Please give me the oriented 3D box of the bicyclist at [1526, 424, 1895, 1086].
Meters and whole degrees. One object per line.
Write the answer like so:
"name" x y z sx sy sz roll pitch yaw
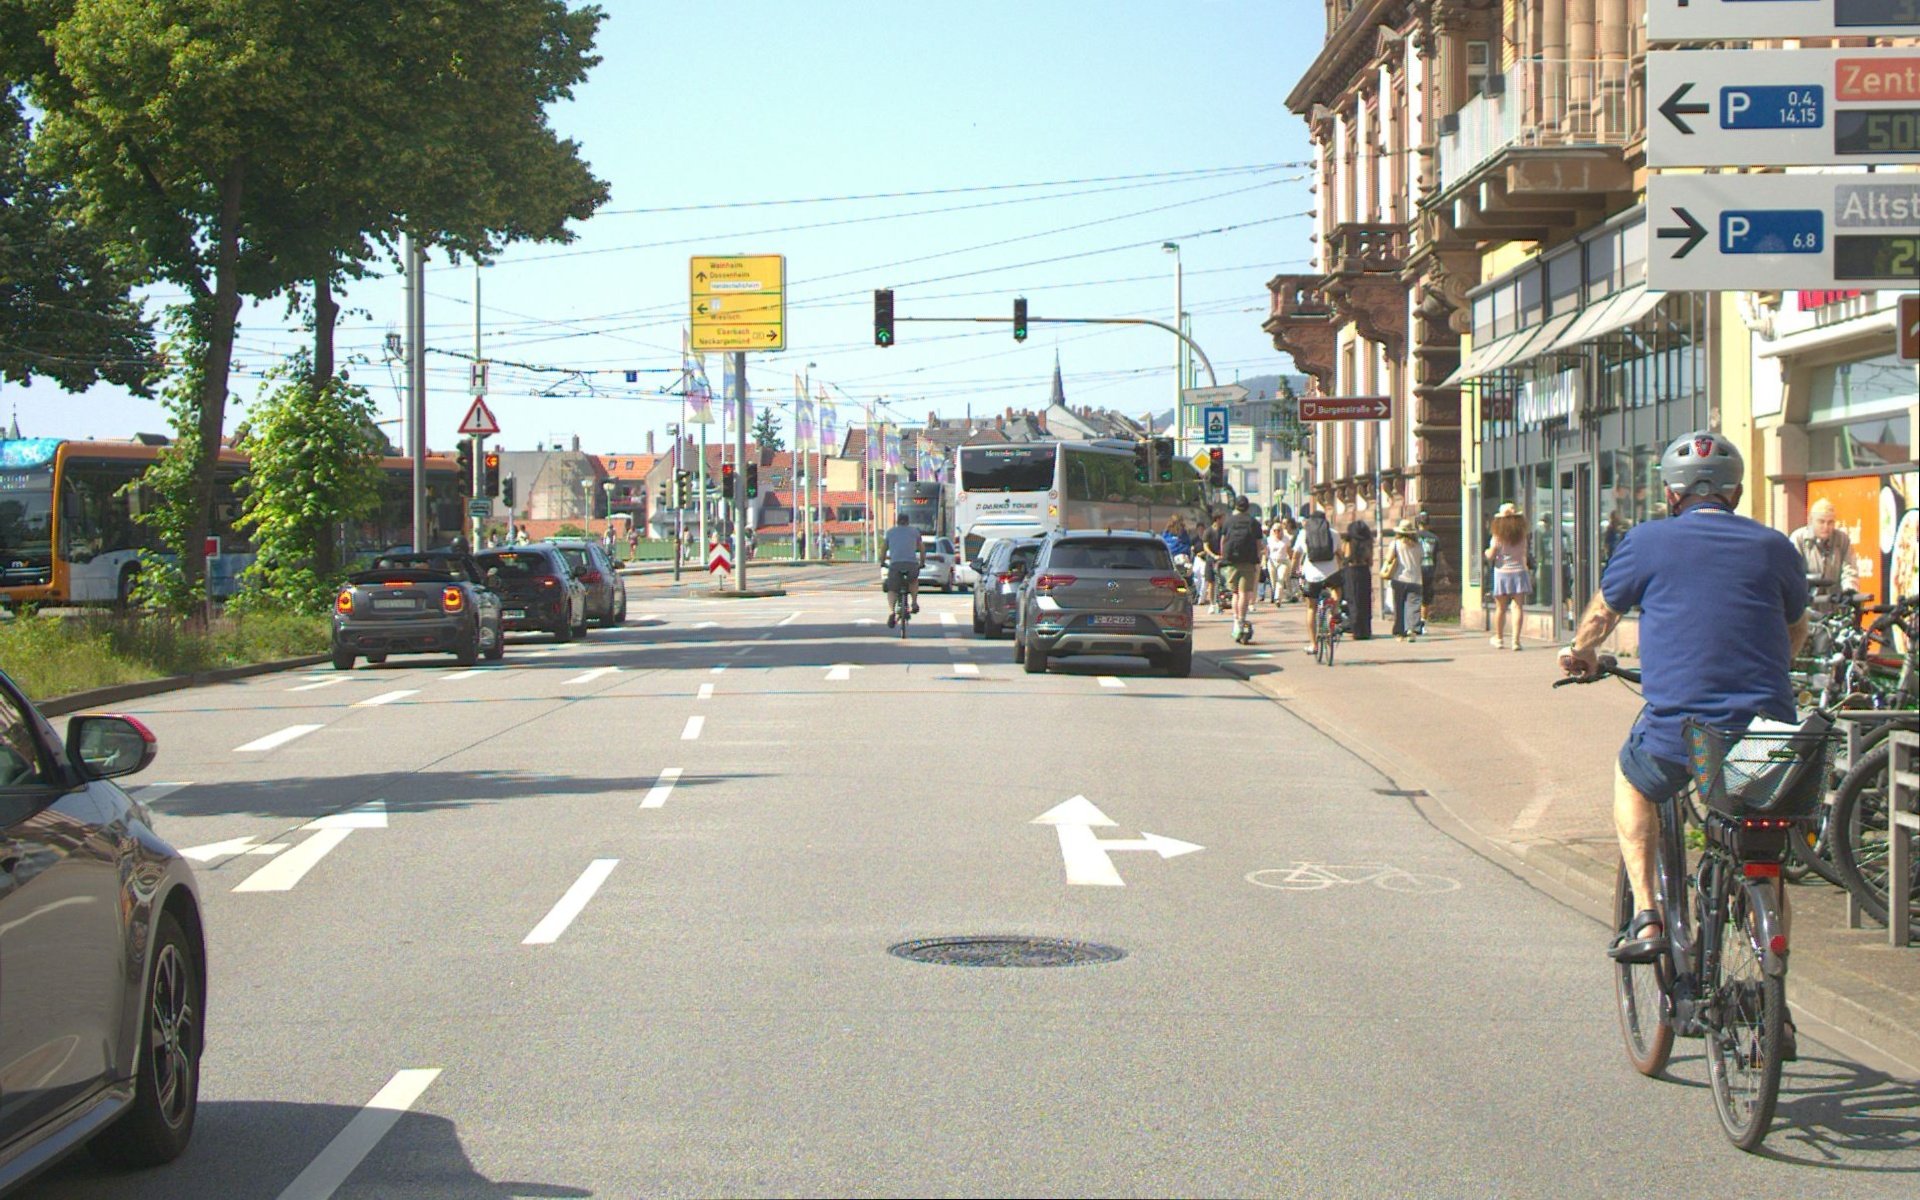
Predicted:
"bicyclist" 1.927 0.381 8.937 0.688 1.611 0.918 2 0 -1

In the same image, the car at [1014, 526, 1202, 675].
"car" 1.562 -0.001 37.577 1.873 1.487 4.000 2 0 1

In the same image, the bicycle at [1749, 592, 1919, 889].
"bicycle" 4.111 0.570 13.935 1.693 1.174 0.470 1 0 0

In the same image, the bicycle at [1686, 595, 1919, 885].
"bicycle" 3.987 0.573 14.532 1.693 1.174 0.608 -1 1 0

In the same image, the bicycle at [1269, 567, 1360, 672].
"bicycle" 3.858 0.206 37.512 0.734 1.089 1.898 2 0 -1

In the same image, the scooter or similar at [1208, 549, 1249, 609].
"scooter or similar" 4.794 -0.380 61.365 0.600 1.044 0.799 2 0 -2

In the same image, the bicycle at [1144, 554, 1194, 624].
"bicycle" 3.373 -0.184 55.518 0.734 1.089 1.898 2 0 2

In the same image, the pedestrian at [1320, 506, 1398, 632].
"pedestrian" 5.303 -0.412 45.711 0.862 1.634 0.876 2 0 -2

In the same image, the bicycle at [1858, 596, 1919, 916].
"bicycle" 4.282 0.589 12.878 1.693 1.174 0.460 1 0 0

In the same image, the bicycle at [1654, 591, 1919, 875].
"bicycle" 3.994 0.565 15.187 1.693 1.174 0.608 -2 1 0

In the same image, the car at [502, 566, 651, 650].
"car" -6.528 0.124 58.875 2.037 1.328 4.000 2 0 1

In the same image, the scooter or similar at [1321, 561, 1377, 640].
"scooter or similar" 5.237 0.004 46.339 0.600 1.044 0.799 2 0 -2

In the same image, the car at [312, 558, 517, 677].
"car" -6.638 0.199 42.208 1.815 1.328 4.000 2 0 1

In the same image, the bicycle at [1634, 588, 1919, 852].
"bicycle" 4.010 0.541 15.818 1.693 1.174 0.608 0 1 0

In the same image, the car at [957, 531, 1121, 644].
"car" 1.084 -0.186 49.298 1.993 1.487 4.000 2 0 -3

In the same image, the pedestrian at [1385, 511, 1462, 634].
"pedestrian" 6.295 -0.370 46.717 0.862 1.634 0.876 2 0 -2

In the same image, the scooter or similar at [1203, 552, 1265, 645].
"scooter or similar" 3.573 -0.023 44.884 0.688 1.163 1.464 2 0 2

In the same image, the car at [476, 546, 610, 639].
"car" -6.216 -0.117 51.534 1.451 1.296 4.000 2 0 1

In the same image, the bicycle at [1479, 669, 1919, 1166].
"bicycle" 1.910 0.760 8.961 0.734 1.089 1.911 2 0 -2

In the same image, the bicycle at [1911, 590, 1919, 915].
"bicycle" 4.322 0.567 12.296 1.693 1.174 0.459 1 0 0

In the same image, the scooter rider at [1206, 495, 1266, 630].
"scooter rider" 3.604 -0.489 44.954 0.688 1.723 0.778 2 0 2

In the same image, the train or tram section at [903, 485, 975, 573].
"train or tram section" -0.905 -3.171 155.277 2.822 3.764 8.226 2 1 2

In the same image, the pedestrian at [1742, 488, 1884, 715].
"pedestrian" 6.464 0.012 26.083 0.755 1.650 0.837 -3 0 -1

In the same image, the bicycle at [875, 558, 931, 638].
"bicycle" -0.822 -0.032 49.039 0.734 1.089 1.898 2 0 -2

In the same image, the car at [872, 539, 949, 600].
"car" -1.255 -0.778 89.024 1.859 1.502 4.000 2 0 1

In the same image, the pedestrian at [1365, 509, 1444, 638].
"pedestrian" 5.707 -0.341 44.190 0.862 1.634 0.876 -1 1 -2

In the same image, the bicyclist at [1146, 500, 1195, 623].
"bicyclist" 3.396 -0.621 55.524 0.688 1.955 0.778 2 0 2

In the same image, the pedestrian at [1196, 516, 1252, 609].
"pedestrian" 4.752 -0.680 62.017 0.862 1.634 0.876 2 0 -2

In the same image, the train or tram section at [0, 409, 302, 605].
"train or tram section" -16.879 -1.730 69.449 2.824 3.569 10.024 -1 -1 16

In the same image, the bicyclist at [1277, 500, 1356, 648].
"bicyclist" 3.880 -0.282 37.456 0.688 1.571 1.049 2 0 -1

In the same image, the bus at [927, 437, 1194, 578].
"bus" 2.355 -1.971 75.808 2.972 2.767 8.631 2 0 22

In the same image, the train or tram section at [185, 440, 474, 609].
"train or tram section" -14.200 -1.612 78.244 2.825 3.569 8.218 -1 -1 18

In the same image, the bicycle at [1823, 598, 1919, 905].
"bicycle" 4.286 0.595 13.428 1.693 1.174 0.470 1 0 0

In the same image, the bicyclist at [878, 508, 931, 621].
"bicyclist" -0.800 -0.507 48.941 0.688 1.571 1.049 2 0 -2

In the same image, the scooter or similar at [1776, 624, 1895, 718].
"scooter or similar" 6.481 0.523 25.464 0.691 0.648 0.565 -4 0 -1

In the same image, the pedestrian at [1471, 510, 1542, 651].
"pedestrian" 6.334 -0.236 39.869 0.654 1.615 0.815 -1 1 -2

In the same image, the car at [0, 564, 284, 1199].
"car" -2.677 0.682 6.916 1.777 1.470 4.000 -1 0 1
